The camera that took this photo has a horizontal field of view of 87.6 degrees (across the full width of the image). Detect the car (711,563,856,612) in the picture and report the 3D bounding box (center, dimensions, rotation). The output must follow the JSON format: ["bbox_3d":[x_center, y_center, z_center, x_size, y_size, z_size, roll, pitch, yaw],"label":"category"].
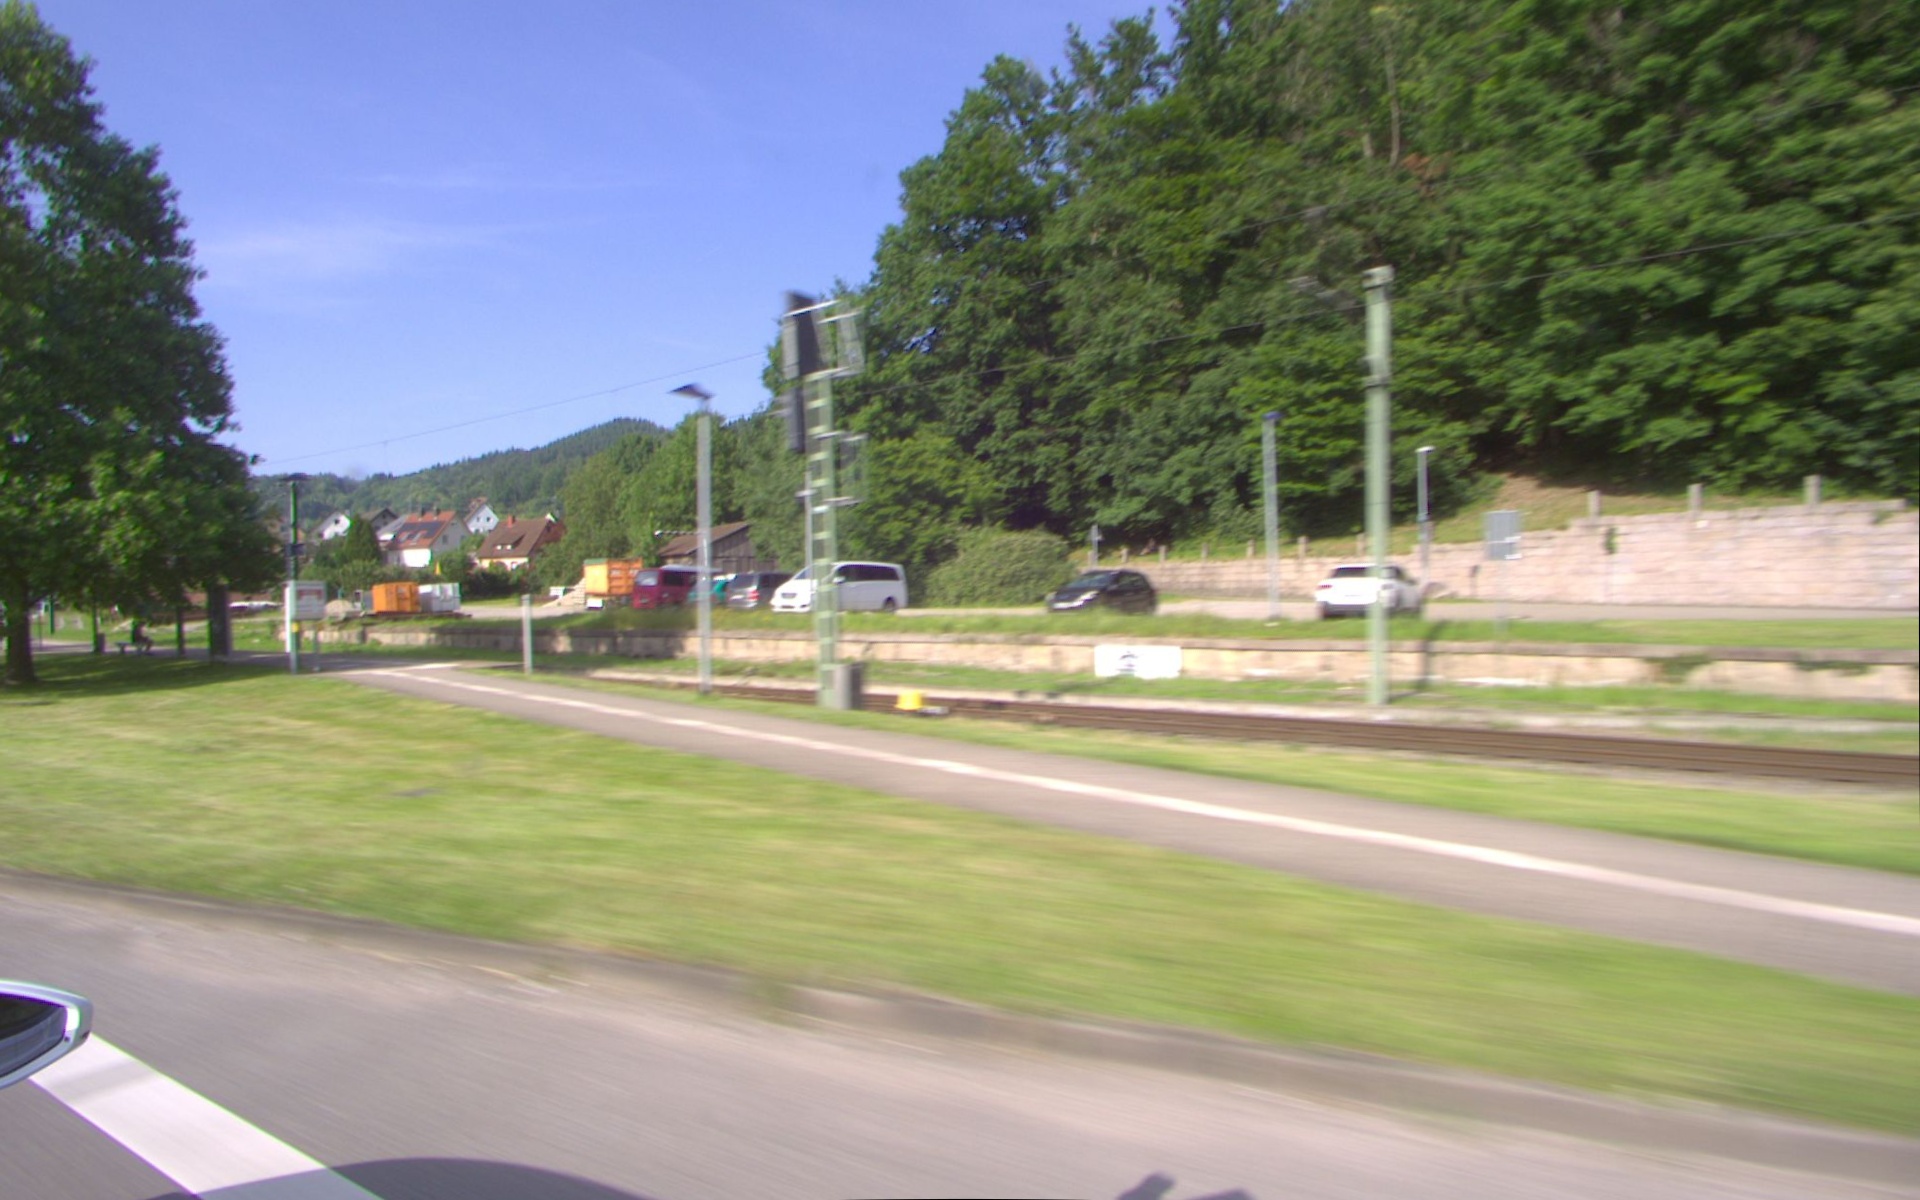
[{"bbox_3d":[-6.111,-0.382,35.234,2.113,1.608,4.935,0,-1,36],"label":"car"}]

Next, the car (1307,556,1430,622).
[{"bbox_3d":[9.722,-0.216,23.685,1.786,1.416,4.083,0,0,36],"label":"car"}]

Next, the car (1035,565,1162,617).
[{"bbox_3d":[3.993,-0.205,28.340,1.807,1.361,4.251,0,-1,36],"label":"car"}]

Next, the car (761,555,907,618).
[{"bbox_3d":[-4.131,-0.391,33.672,2.113,1.969,4.935,0,0,36],"label":"car"}]

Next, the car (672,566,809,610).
[{"bbox_3d":[-7.966,-0.377,36.735,1.871,1.487,4.935,0,-1,36],"label":"car"}]

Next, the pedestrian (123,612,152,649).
[{"bbox_3d":[-26.654,0.974,32.449,0.719,1.177,0.631,0,2,45],"label":"pedestrian"}]

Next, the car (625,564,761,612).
[{"bbox_3d":[-10.088,-0.417,38.237,1.911,1.713,4.935,0,0,36],"label":"car"}]

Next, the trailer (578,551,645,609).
[{"bbox_3d":[-25.212,-1.338,72.142,2.580,3.946,7.682,-2,1,-34],"label":"trailer"}]
